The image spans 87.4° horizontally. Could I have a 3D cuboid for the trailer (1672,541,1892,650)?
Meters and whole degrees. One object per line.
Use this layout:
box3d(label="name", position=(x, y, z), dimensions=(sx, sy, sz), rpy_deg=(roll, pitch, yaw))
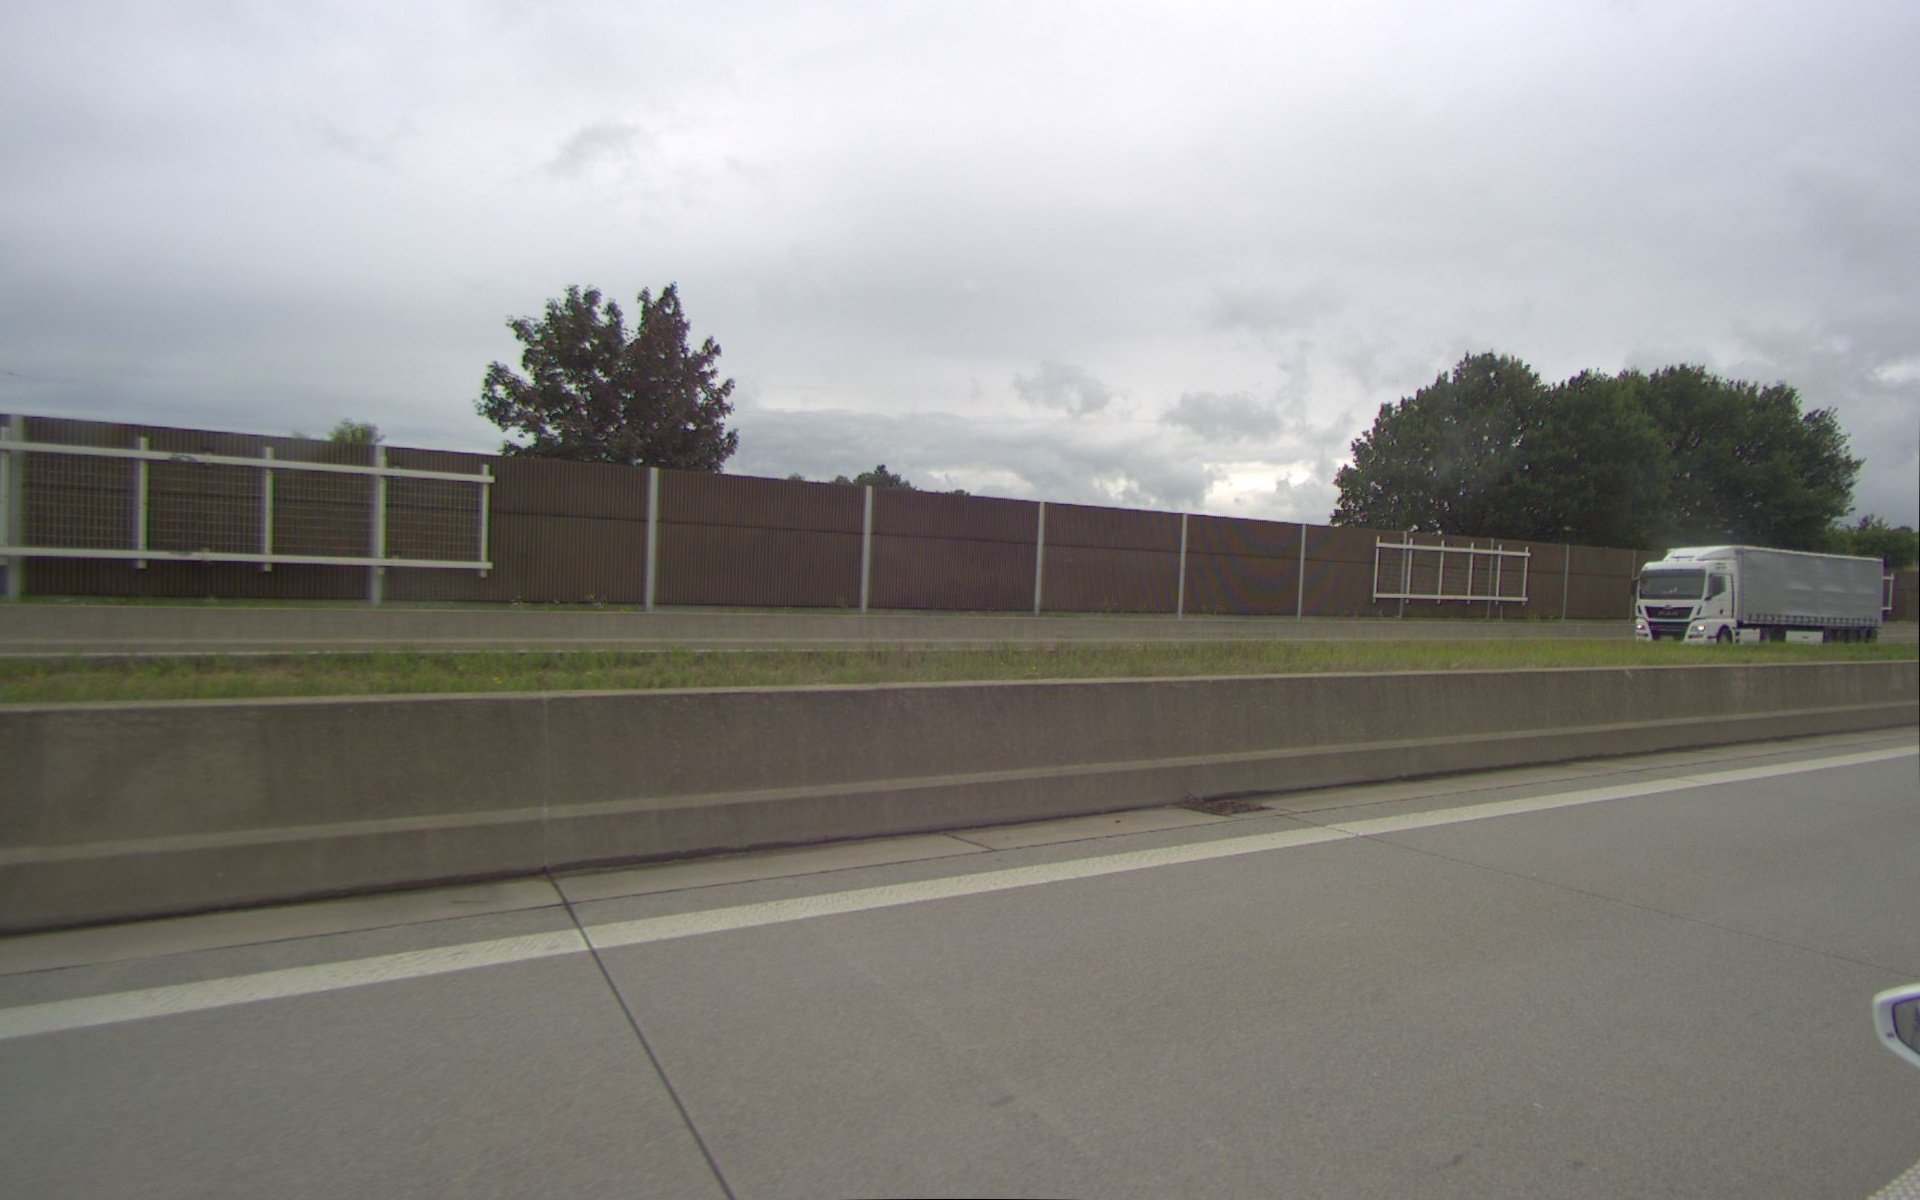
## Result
box3d(label="trailer", position=(35.415, -0.045, 42.958), dimensions=(13.844, 4.150, 2.683), rpy_deg=(2, 0, -31))

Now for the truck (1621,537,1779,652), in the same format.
box3d(label="truck", position=(28.709, -0.154, 38.917), dimensions=(6.144, 4.138, 2.669), rpy_deg=(2, 0, -31))
